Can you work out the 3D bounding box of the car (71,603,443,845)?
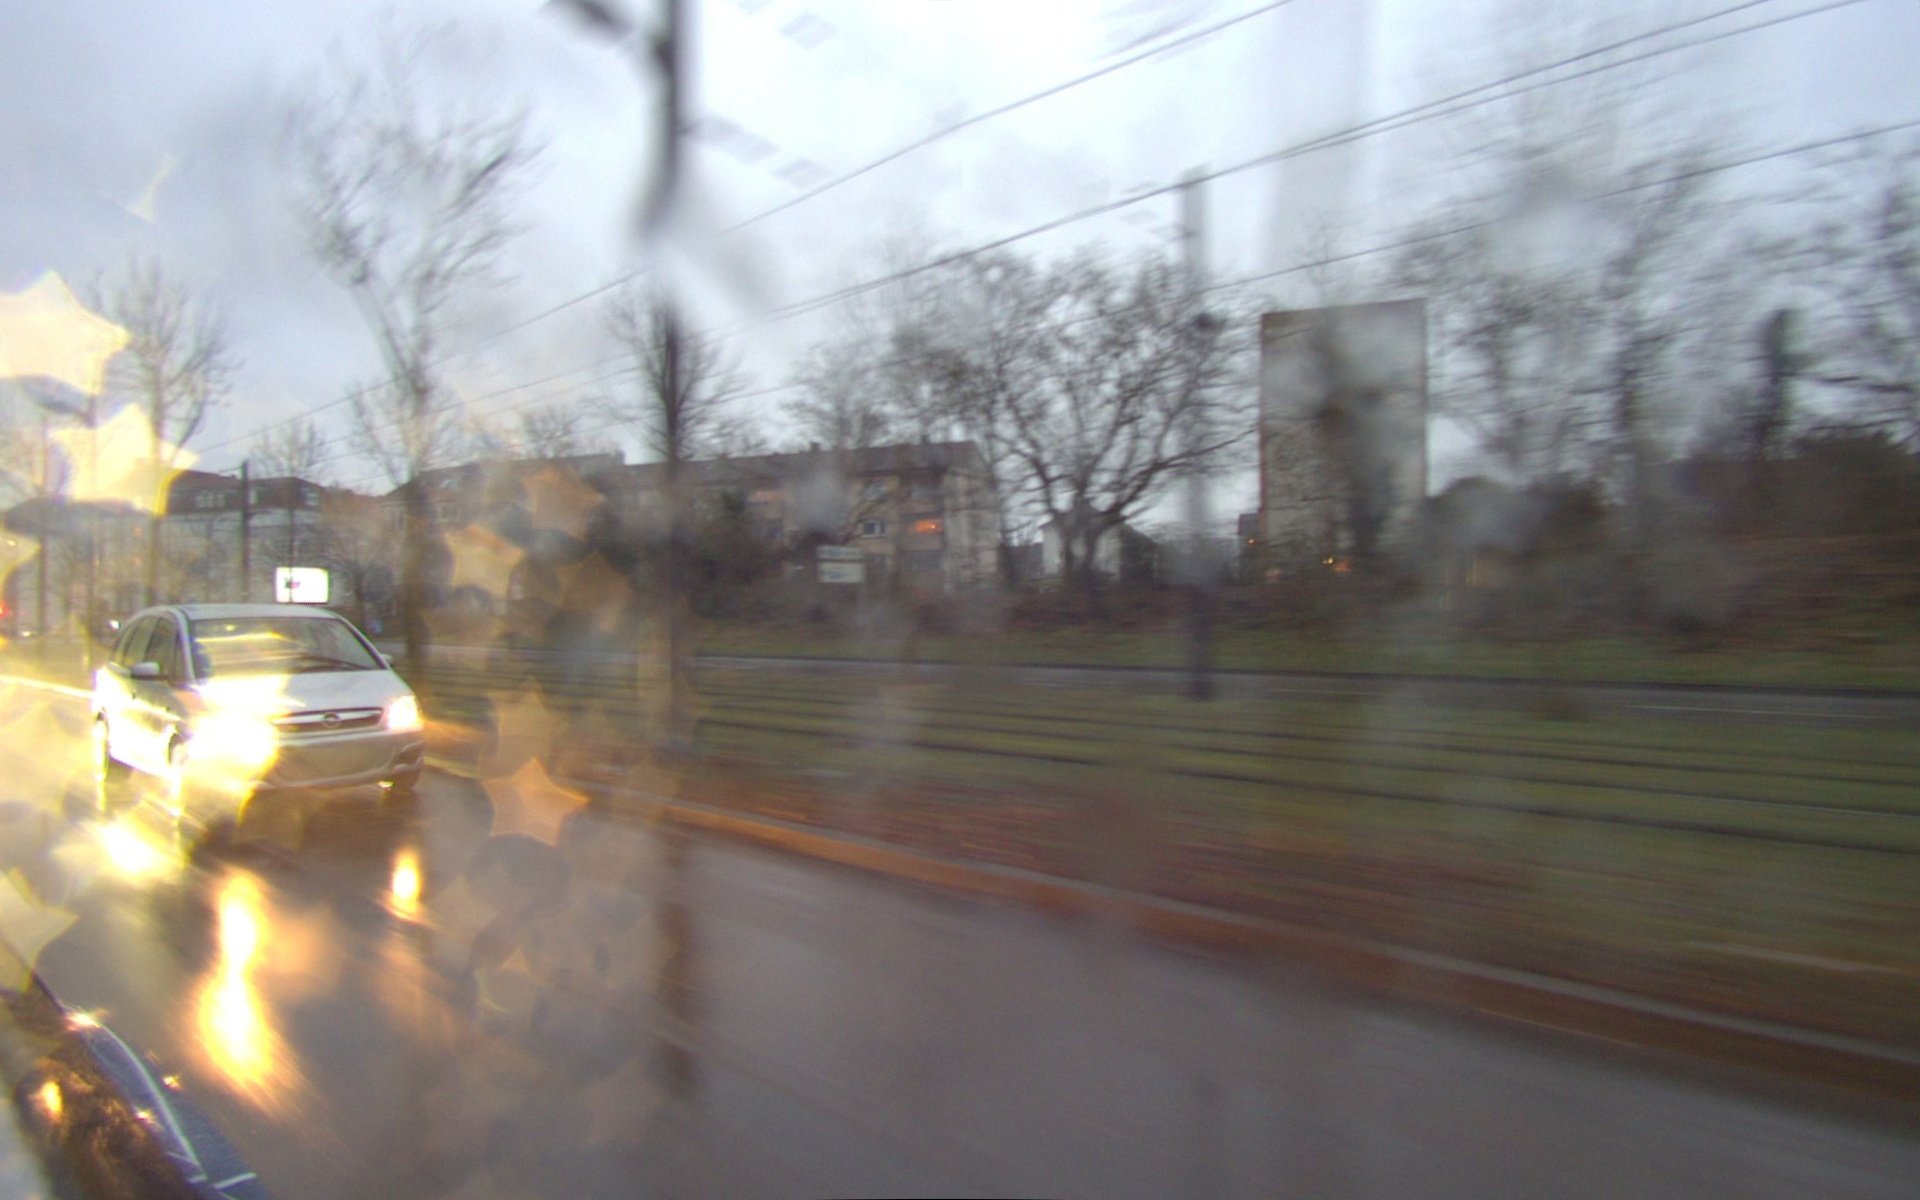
[{"bbox_3d":[-6.135,0.869,8.661,3.919,1.587,1.648,-2,0,40],"label":"car"}]
